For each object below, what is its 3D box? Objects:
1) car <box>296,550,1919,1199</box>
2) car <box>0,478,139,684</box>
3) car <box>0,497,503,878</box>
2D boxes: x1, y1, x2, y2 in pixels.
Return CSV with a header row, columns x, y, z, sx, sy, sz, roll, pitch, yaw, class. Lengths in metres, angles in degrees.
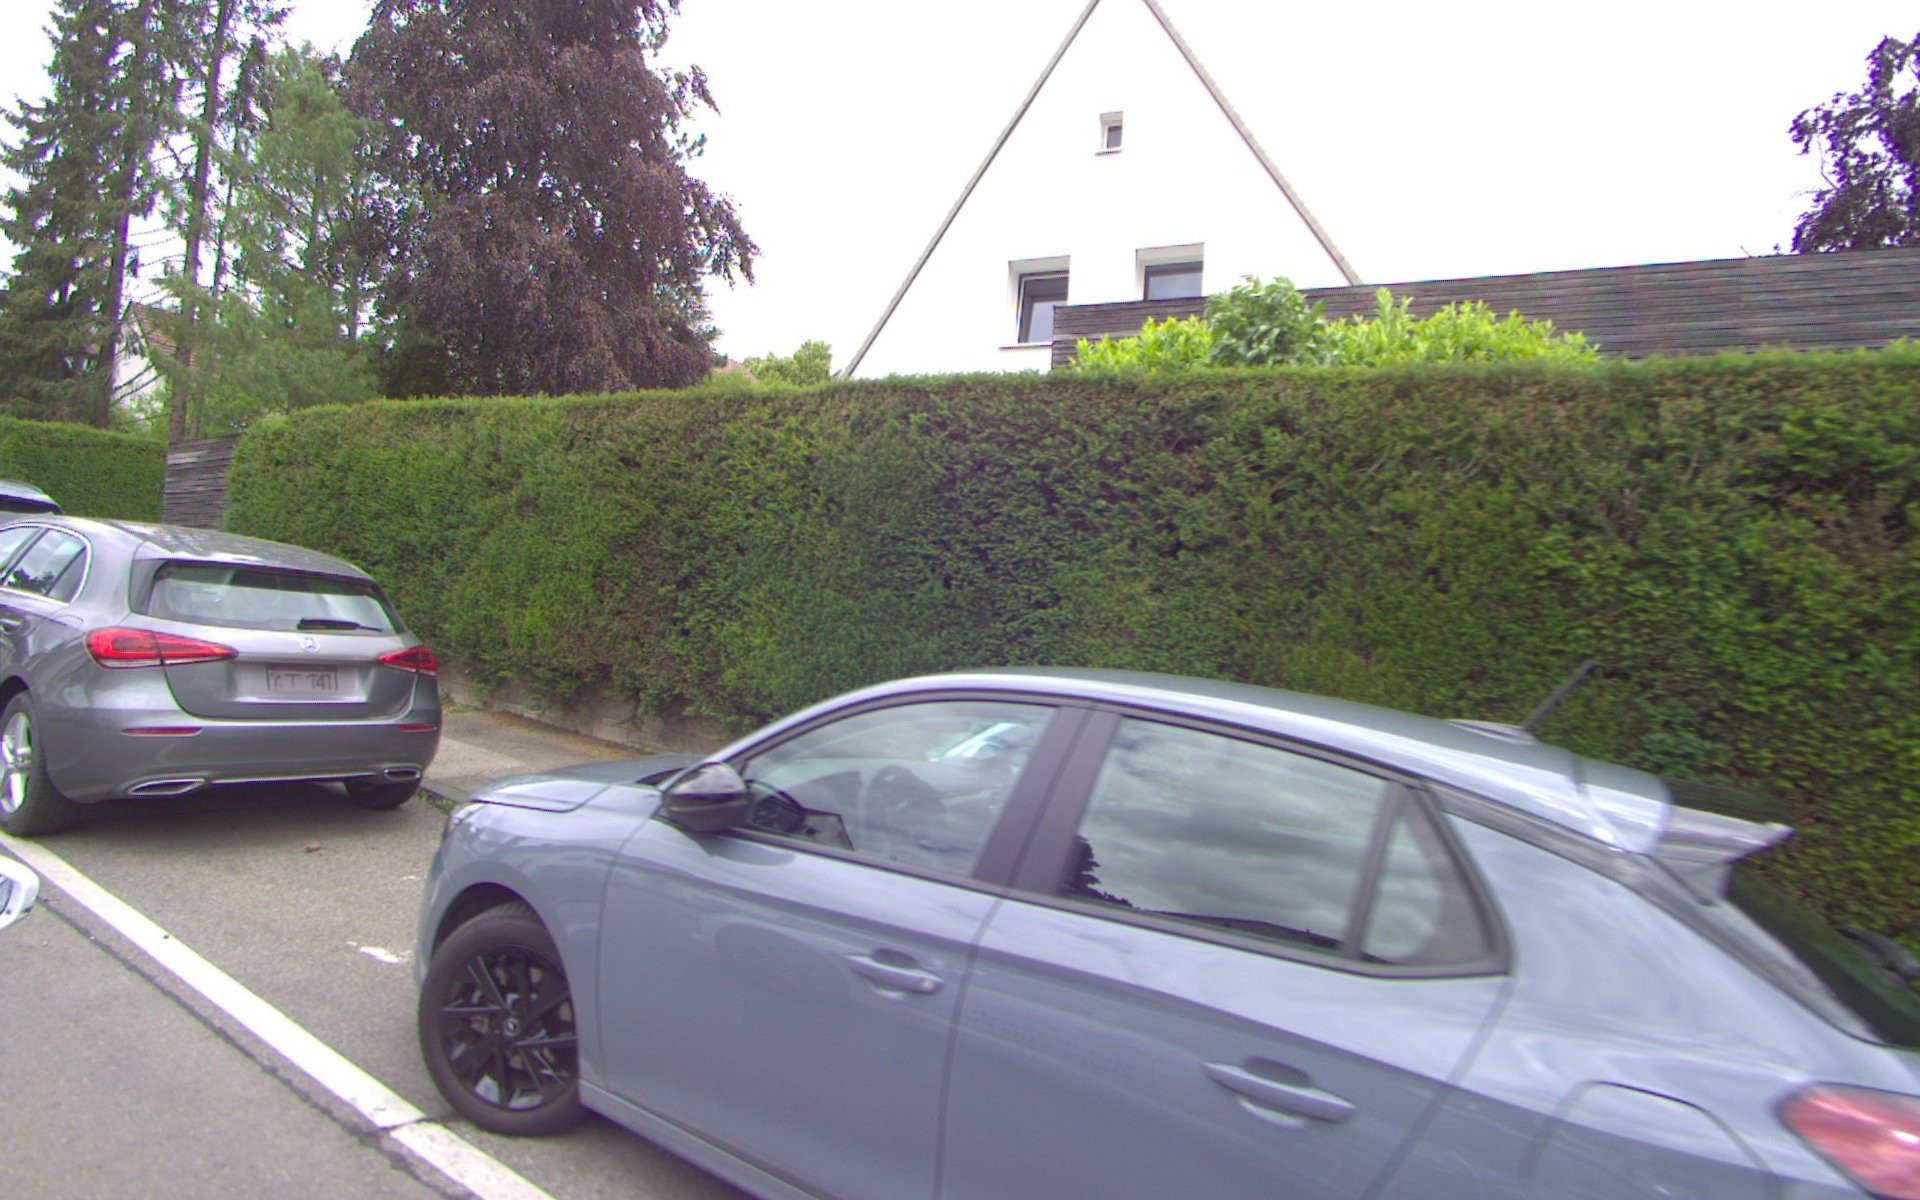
x,y,z,sx,sy,sz,roll,pitch,yaw,class
0.146,0.857,2.920,3.934,1.481,1.858,7,-1,32,car
-9.363,-0.365,8.922,4.103,1.600,1.858,7,-1,32,car
-4.835,0.255,5.867,4.103,1.481,1.858,7,-1,32,car
